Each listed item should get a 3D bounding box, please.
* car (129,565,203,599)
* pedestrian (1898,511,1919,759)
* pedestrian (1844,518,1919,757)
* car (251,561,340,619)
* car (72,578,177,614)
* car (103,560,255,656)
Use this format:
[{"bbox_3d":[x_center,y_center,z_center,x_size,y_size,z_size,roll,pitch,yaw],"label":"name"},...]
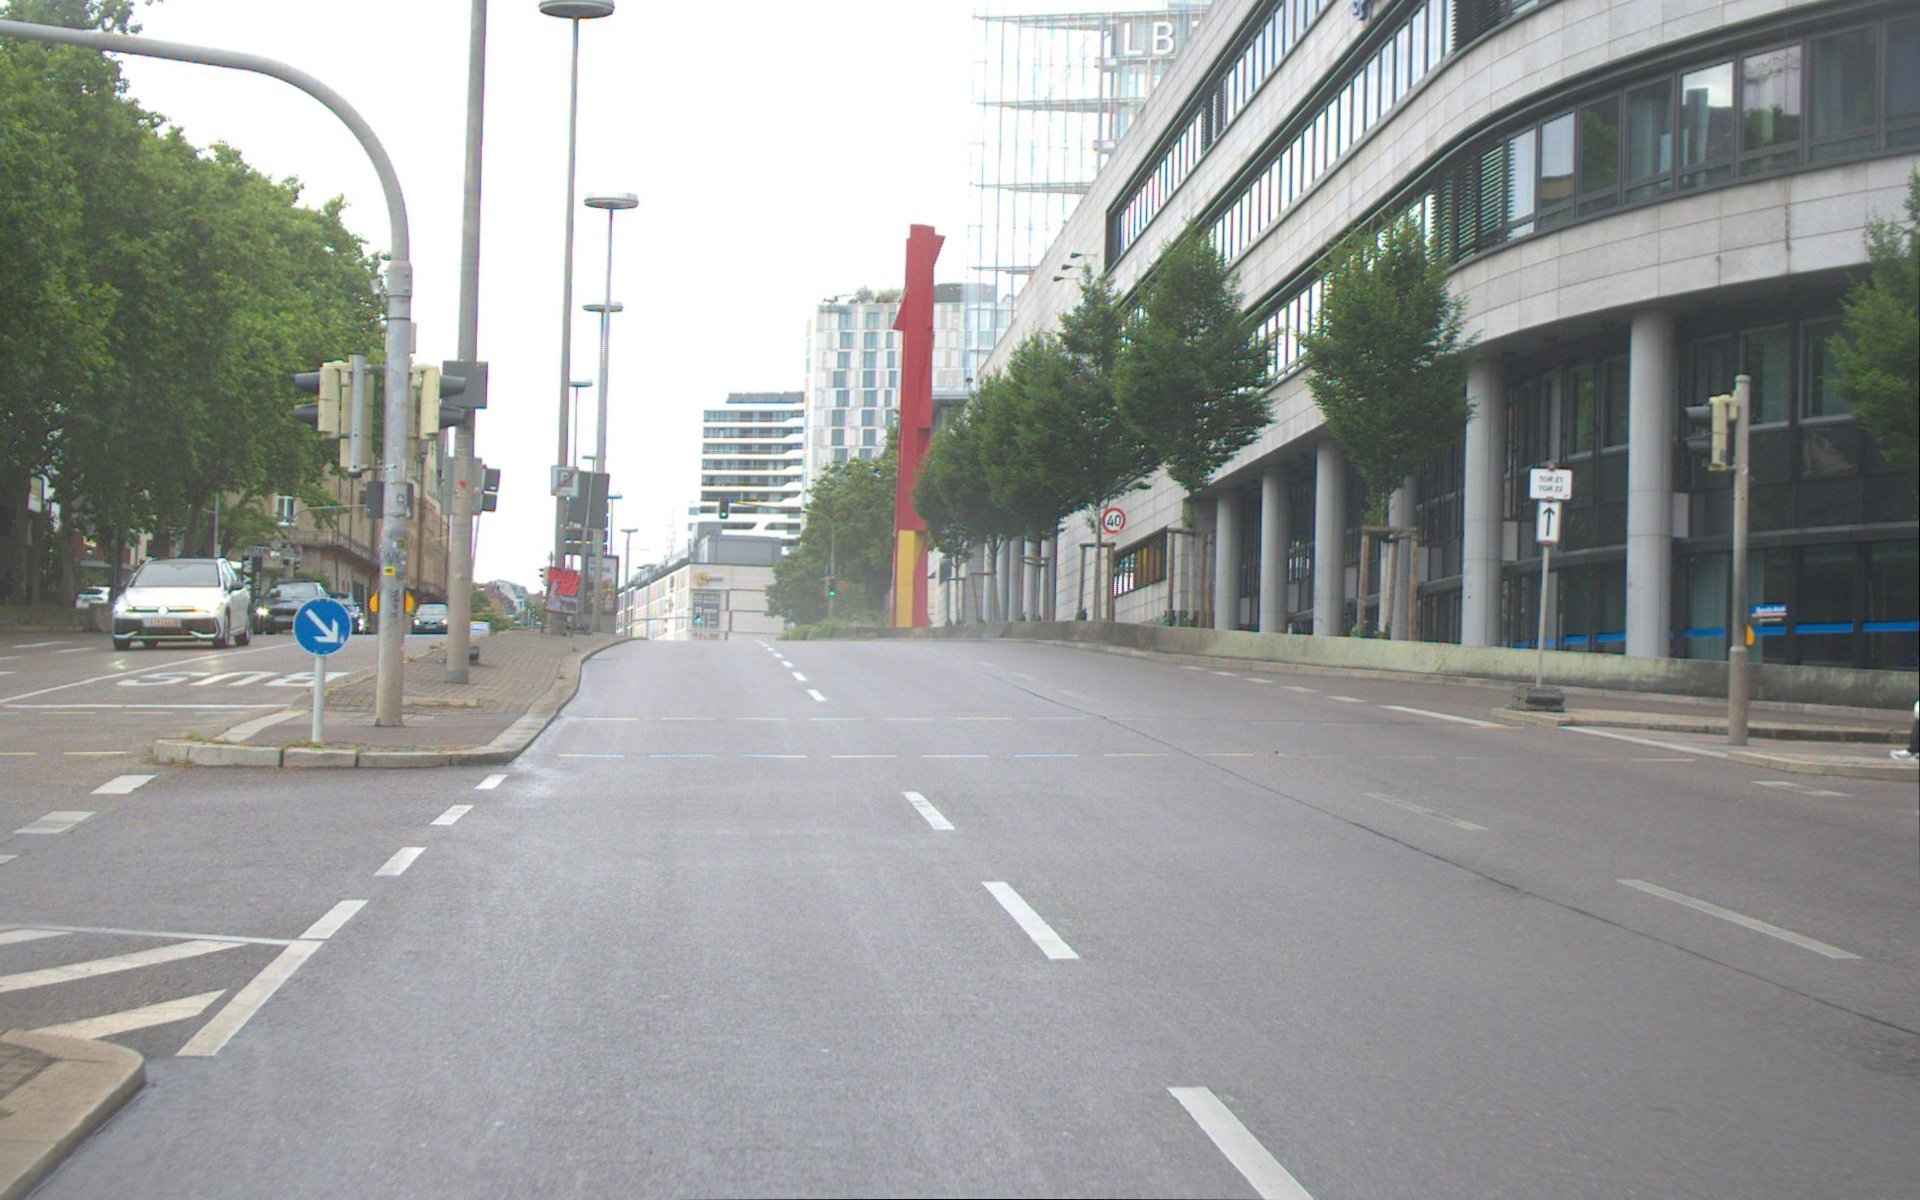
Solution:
[{"bbox_3d":[-41.999,-0.948,181.855,3.628,1.695,1.825,0,-2,-7],"label":"car"},{"bbox_3d":[7.791,0.289,26.691,0.841,1.898,0.860,1,-2,22],"label":"pedestrian"},{"bbox_3d":[7.654,0.303,27.834,0.841,1.898,0.731,1,-1,22],"label":"pedestrian"},{"bbox_3d":[-17.486,-0.285,90.596,1.807,1.443,4.341,0,1,-5],"label":"car"},{"bbox_3d":[-37.643,-0.177,155.000,1.823,1.506,4.568,-1,-2,34],"label":"car"},{"bbox_3d":[-12.583,0.097,55.580,1.761,1.455,4.360,0,1,-4],"label":"car"}]
